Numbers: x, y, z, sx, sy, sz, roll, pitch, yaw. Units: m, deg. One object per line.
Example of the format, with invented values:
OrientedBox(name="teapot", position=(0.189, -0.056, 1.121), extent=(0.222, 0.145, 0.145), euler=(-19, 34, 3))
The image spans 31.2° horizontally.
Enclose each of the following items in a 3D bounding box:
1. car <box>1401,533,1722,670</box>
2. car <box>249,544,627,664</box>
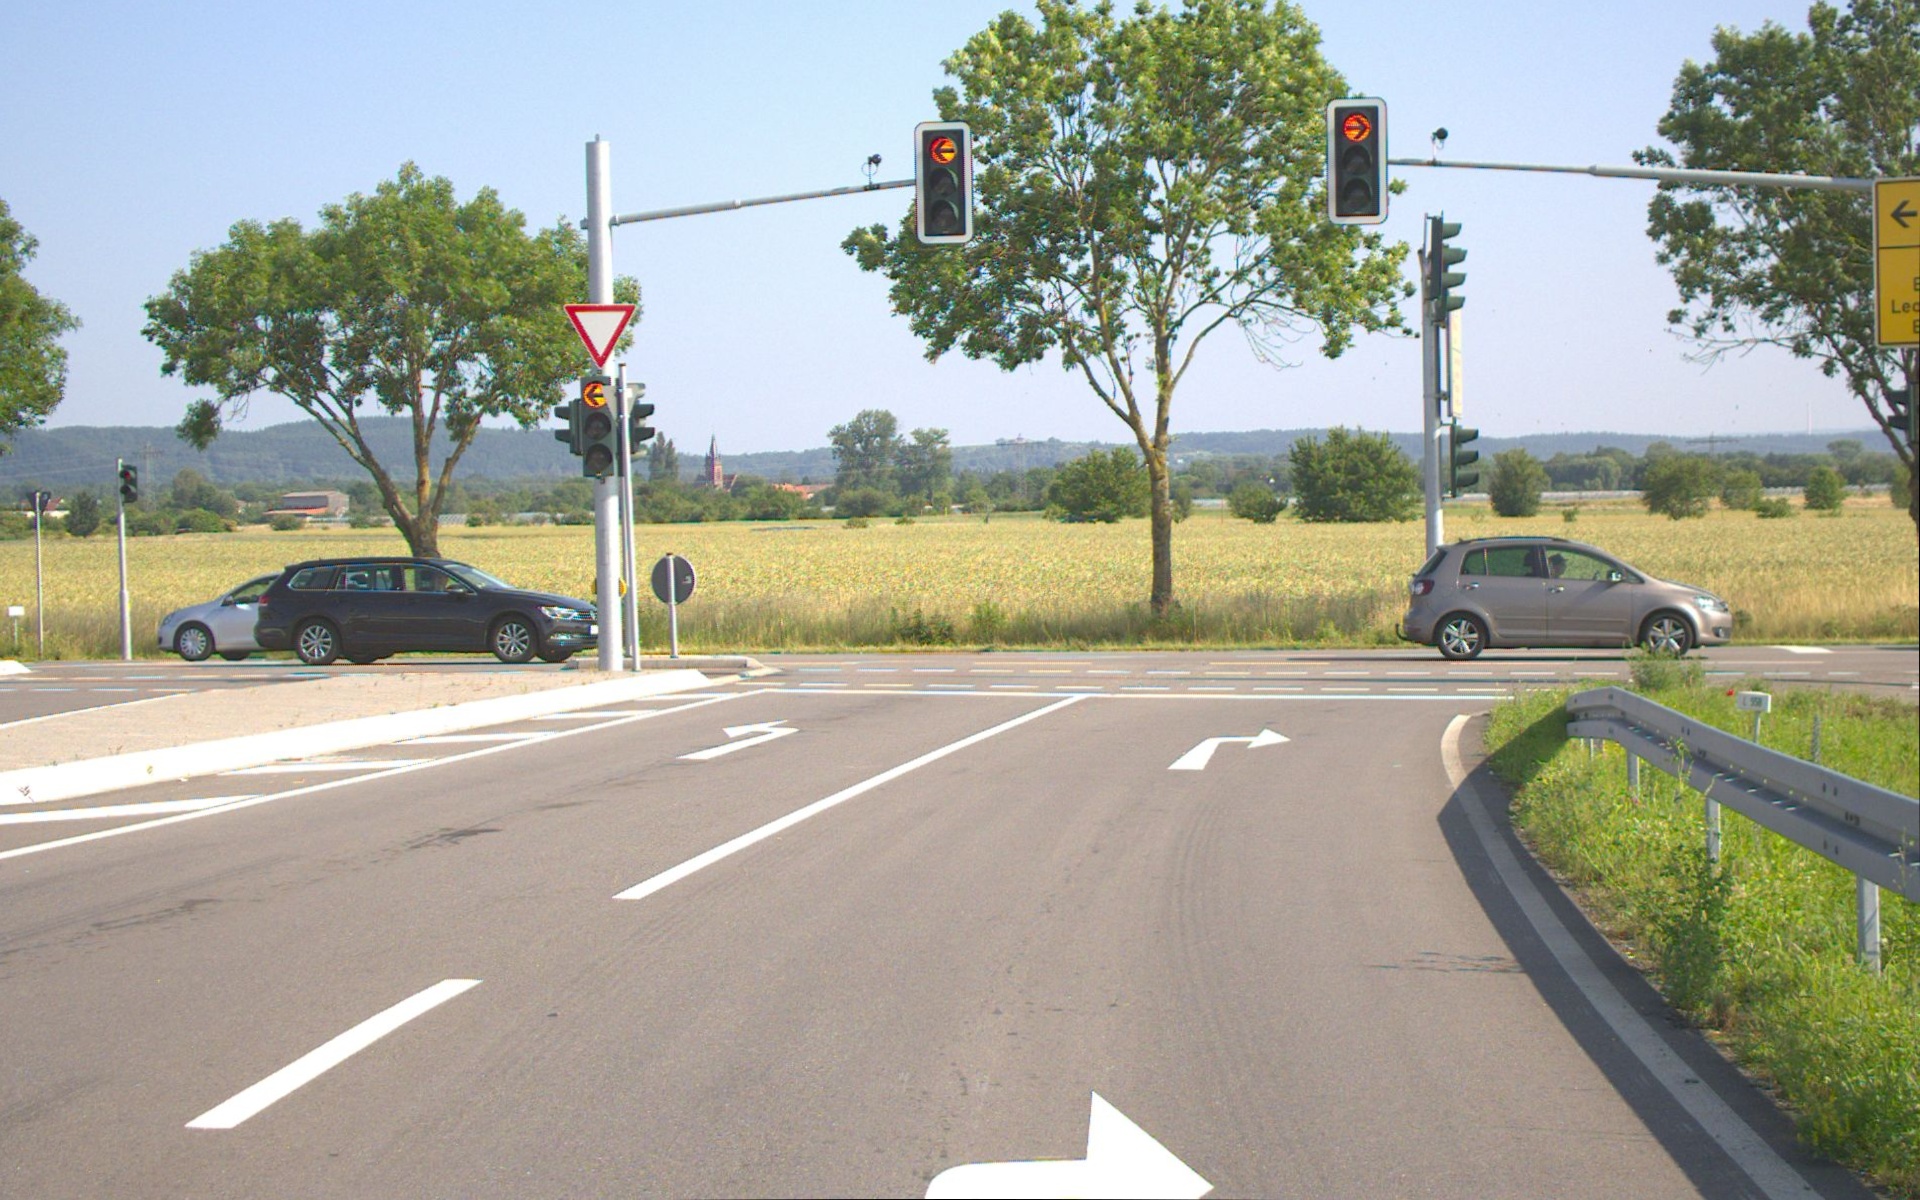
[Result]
OrientedBox(name="car", position=(7.695, 0.008, 44.289), extent=(3.956, 1.662, 1.763), euler=(1, 1, 7))
OrientedBox(name="car", position=(-7.061, 0.045, 46.678), extent=(4.675, 1.513, 1.921), euler=(0, 3, 12))
